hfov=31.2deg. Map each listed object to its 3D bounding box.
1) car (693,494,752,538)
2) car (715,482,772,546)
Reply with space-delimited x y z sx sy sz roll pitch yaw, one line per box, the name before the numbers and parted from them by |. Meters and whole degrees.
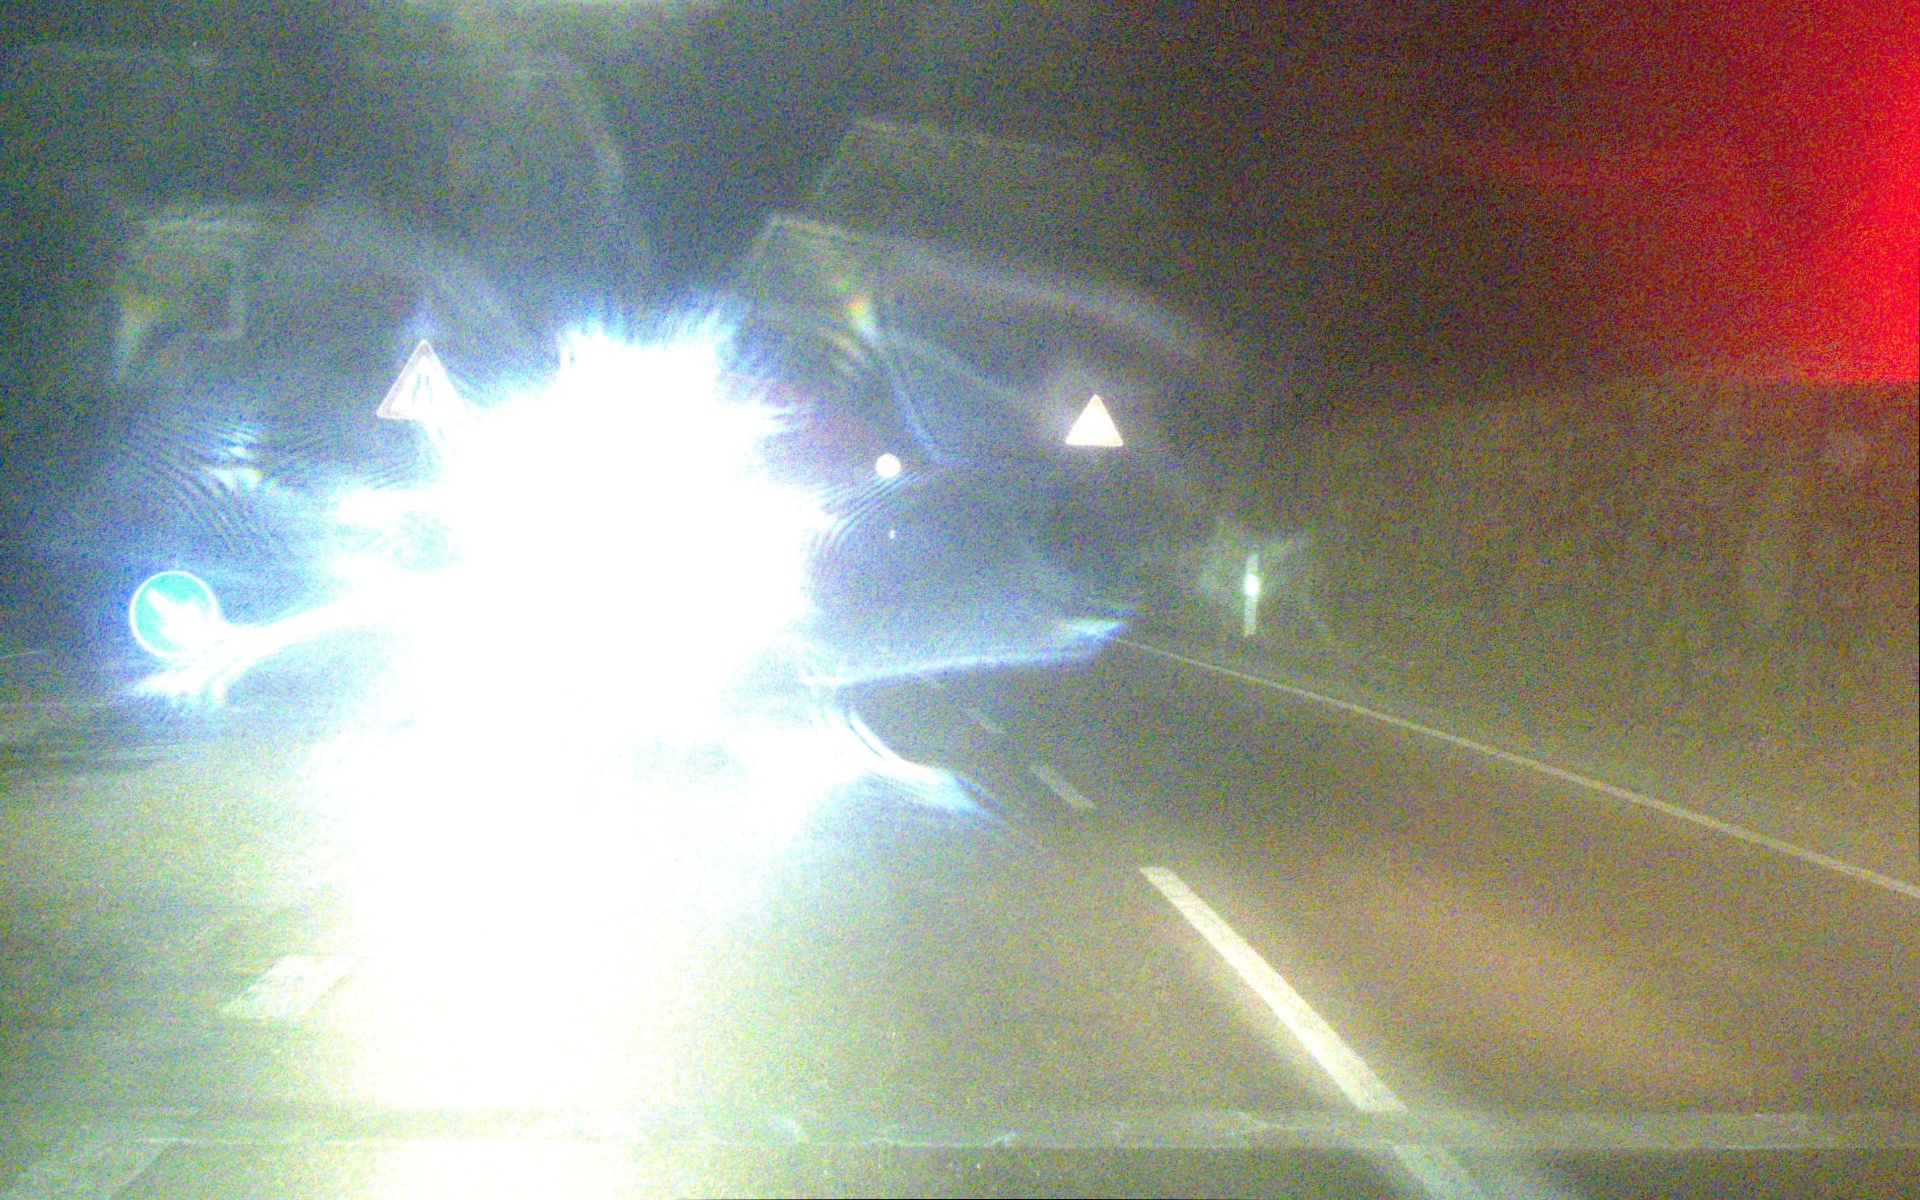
car | -10.698 -3.767 155.236 1.994 1.711 3.999 5 0 4
car | -7.079 -2.808 112.598 1.791 2.015 4.580 1 1 -3
